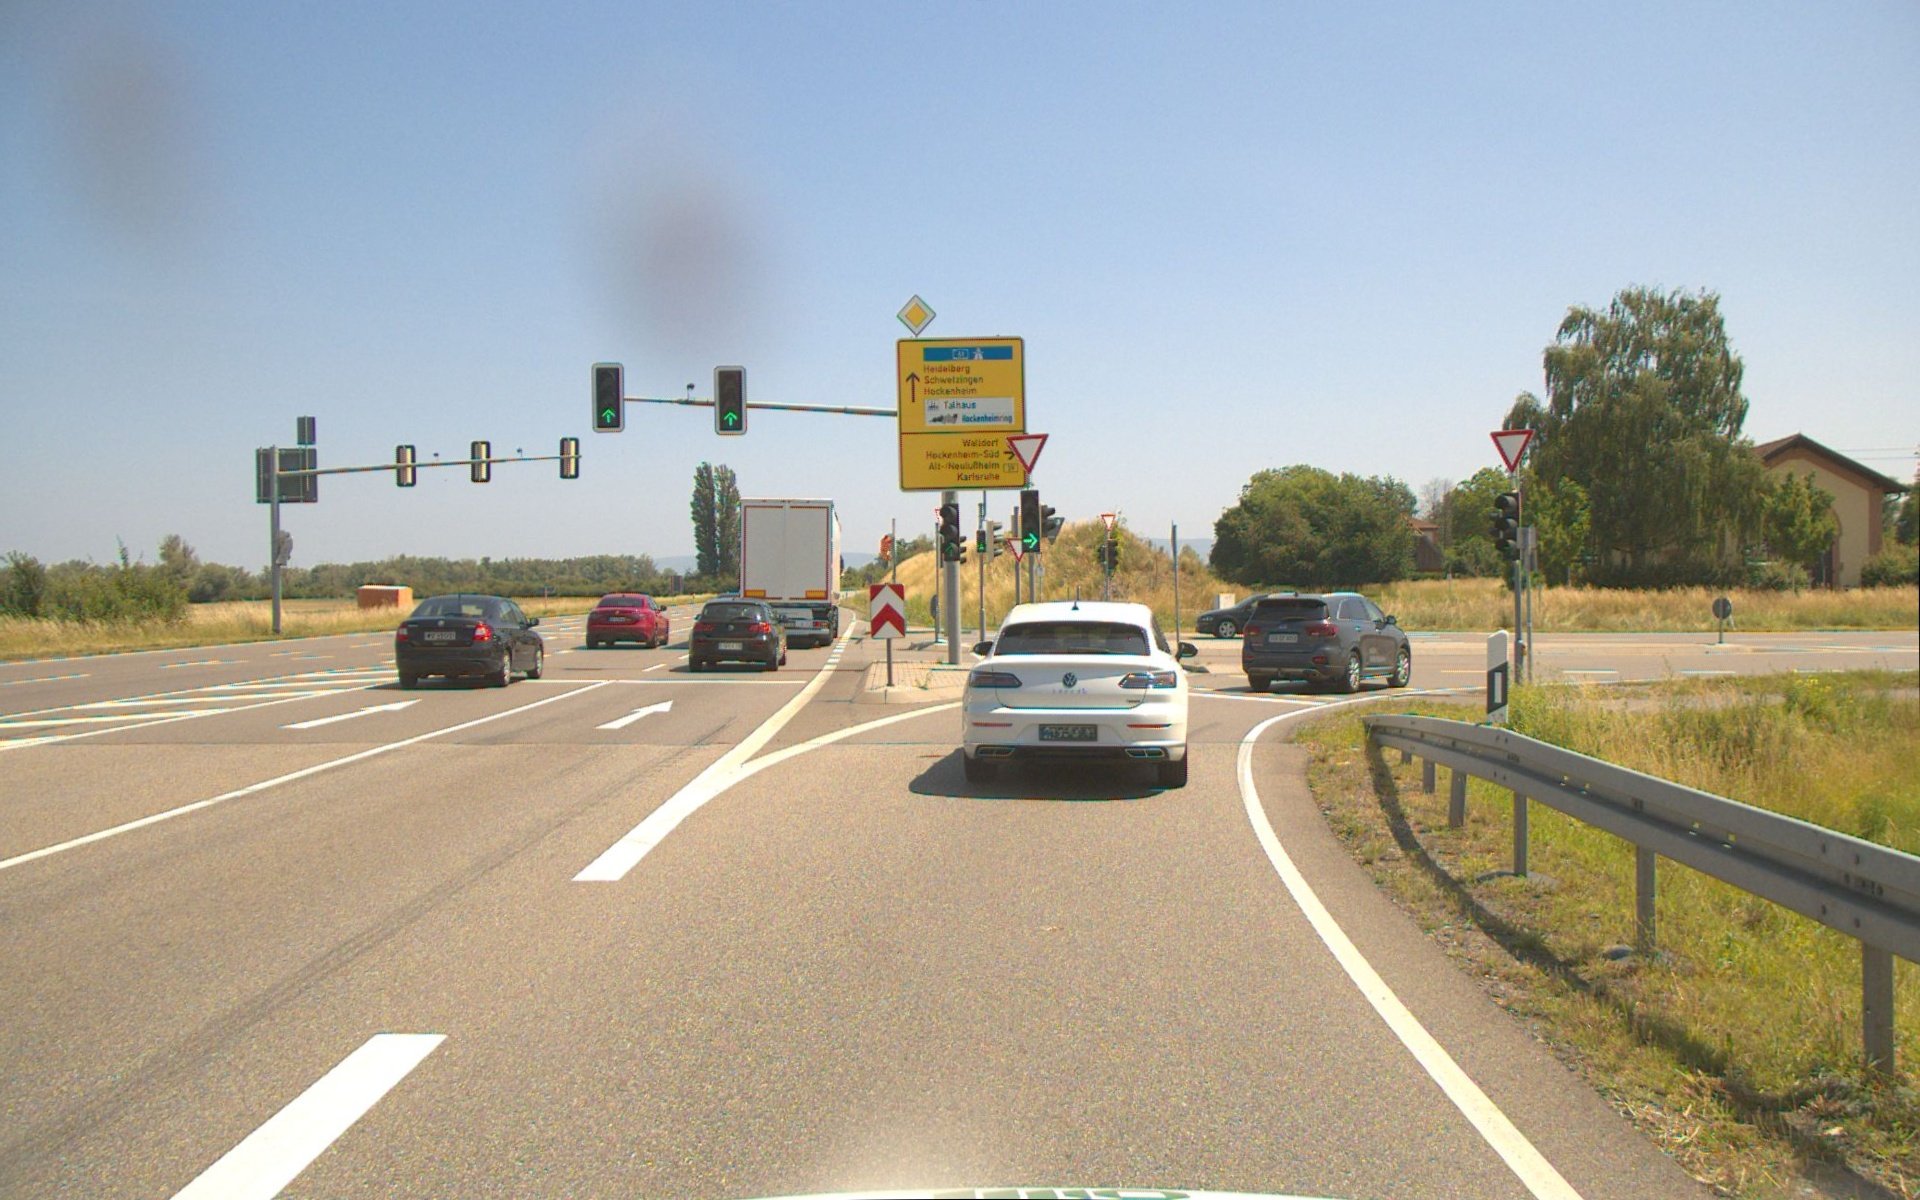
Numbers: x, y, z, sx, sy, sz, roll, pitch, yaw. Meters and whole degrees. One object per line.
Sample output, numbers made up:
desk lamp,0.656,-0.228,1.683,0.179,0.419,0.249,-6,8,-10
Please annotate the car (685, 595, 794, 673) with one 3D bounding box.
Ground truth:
car,-4.466,0.641,34.023,1.748,1.455,4.379,1,0,-2

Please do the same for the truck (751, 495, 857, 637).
truck,-5.323,-1.122,57.638,3.313,4.622,6.369,1,0,-2

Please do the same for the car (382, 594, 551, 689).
car,-8.074,0.641,27.457,1.641,1.436,4.464,0,0,-3

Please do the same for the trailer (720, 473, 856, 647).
trailer,-5.034,-1.085,50.896,3.313,4.622,12.865,1,0,-2

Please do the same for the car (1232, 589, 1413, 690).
car,6.536,0.656,29.474,1.899,1.645,4.368,0,0,31

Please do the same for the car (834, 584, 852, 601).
car,-13.197,-0.868,186.527,1.942,1.902,4.462,0,0,-5

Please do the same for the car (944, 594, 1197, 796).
car,1.125,0.699,14.408,1.808,1.458,4.612,0,0,9

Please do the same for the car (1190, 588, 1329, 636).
car,9.580,0.382,53.124,4.172,1.392,1.776,-1,1,1

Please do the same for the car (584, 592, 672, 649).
car,-9.094,0.528,45.619,1.714,1.446,4.563,1,0,-3
